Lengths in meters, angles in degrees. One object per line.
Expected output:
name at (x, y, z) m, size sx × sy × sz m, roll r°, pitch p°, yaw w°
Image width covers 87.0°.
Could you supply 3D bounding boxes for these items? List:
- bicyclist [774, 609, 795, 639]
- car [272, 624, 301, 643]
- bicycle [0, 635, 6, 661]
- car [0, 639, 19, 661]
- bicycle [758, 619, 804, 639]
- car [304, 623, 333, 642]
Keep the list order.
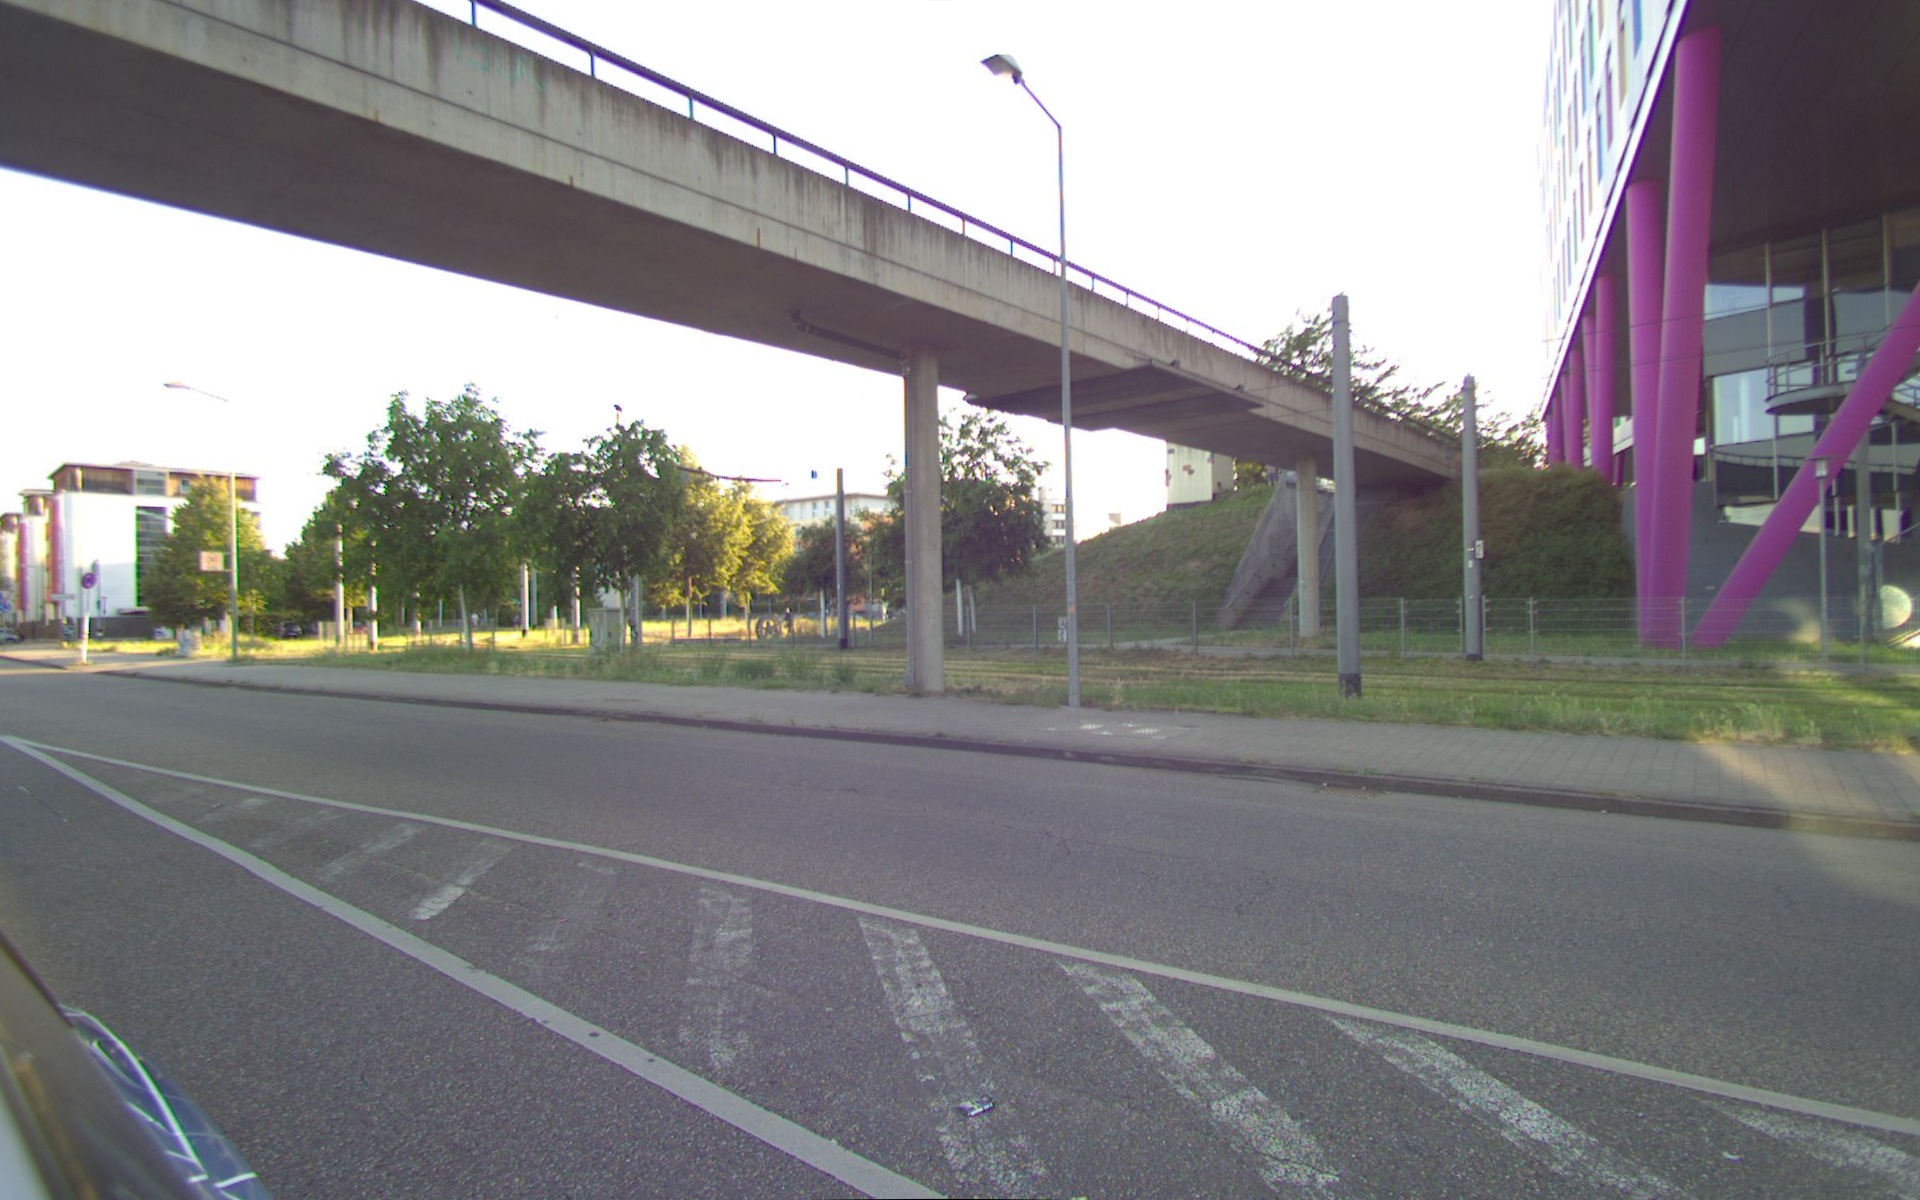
bicyclist at (-9.701, 1.328, 55.935) m, size 0.716 × 1.644 × 0.898 m, roll -2°, pitch -1°, yaw 39°
car at (-56.964, 2.840, 85.586) m, size 1.913 × 1.541 × 4.009 m, roll -1°, pitch -1°, yaw -36°
bicycle at (-60.574, 2.987, 63.163) m, size 3.538 × 1.581 × 1.005 m, roll -2°, pitch -1°, yaw 39°
car at (-80.534, 4.187, 83.579) m, size 2.000 × 1.741 × 3.944 m, roll -2°, pitch -1°, yaw 42°
bicycle at (-9.838, 1.582, 55.665) m, size 0.654 × 1.016 × 2.808 m, roll -2°, pitch -1°, yaw 37°
car at (-55.158, 2.754, 87.001) m, size 1.913 × 1.541 × 4.009 m, roll -1°, pitch -1°, yaw -36°
